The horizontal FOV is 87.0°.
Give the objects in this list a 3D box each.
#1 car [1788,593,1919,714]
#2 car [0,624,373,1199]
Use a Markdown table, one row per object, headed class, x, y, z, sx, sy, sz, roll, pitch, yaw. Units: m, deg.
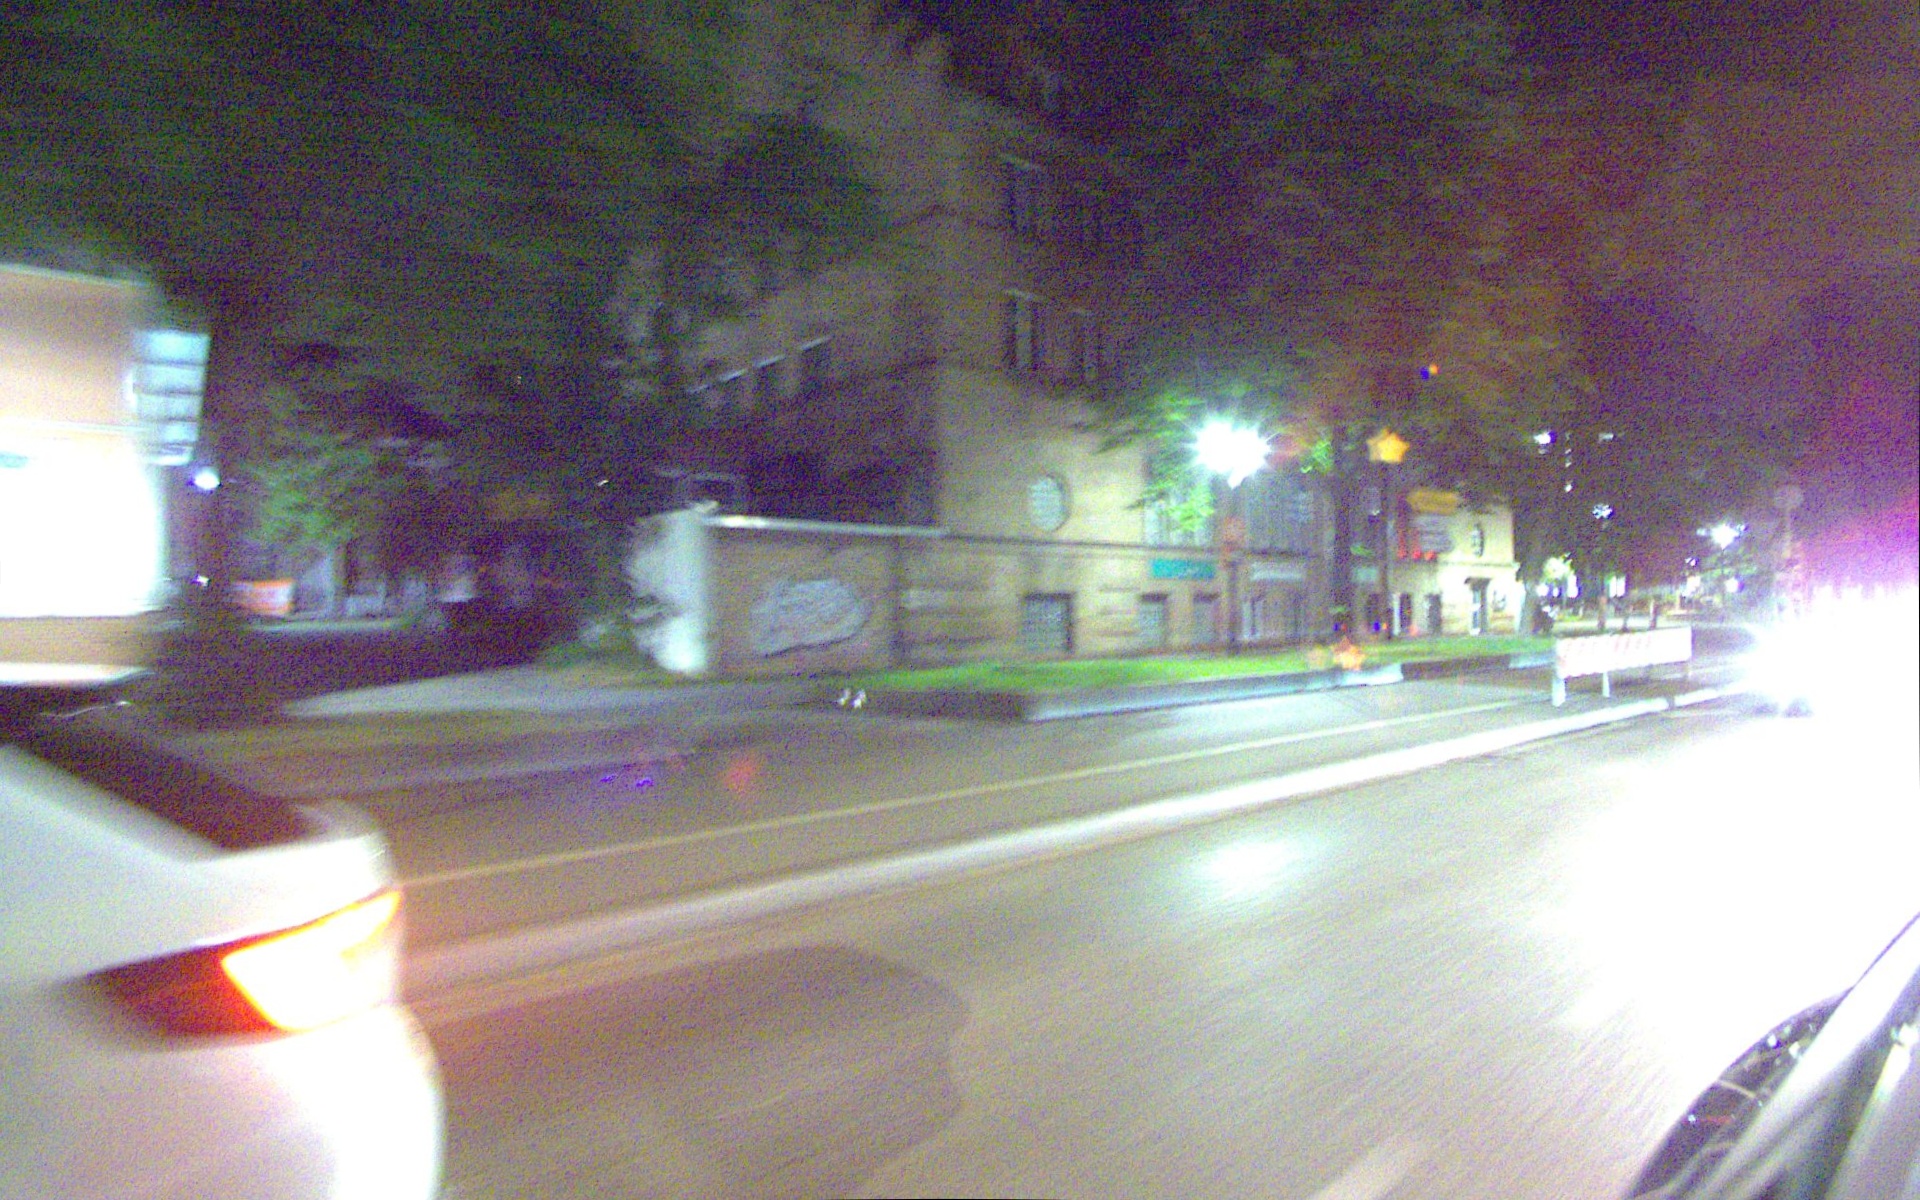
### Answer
| class | x | y | z | sx | sy | sz | roll | pitch | yaw |
| --- | --- | --- | --- | --- | --- | --- | --- | --- | --- |
| car | 12.767 | 0.653 | 13.786 | 3.773 | 1.457 | 1.632 | 0 | -2 | -41 |
| car | -3.111 | 0.781 | 0.753 | 4.418 | 1.448 | 1.727 | 0 | -1 | -40 |
